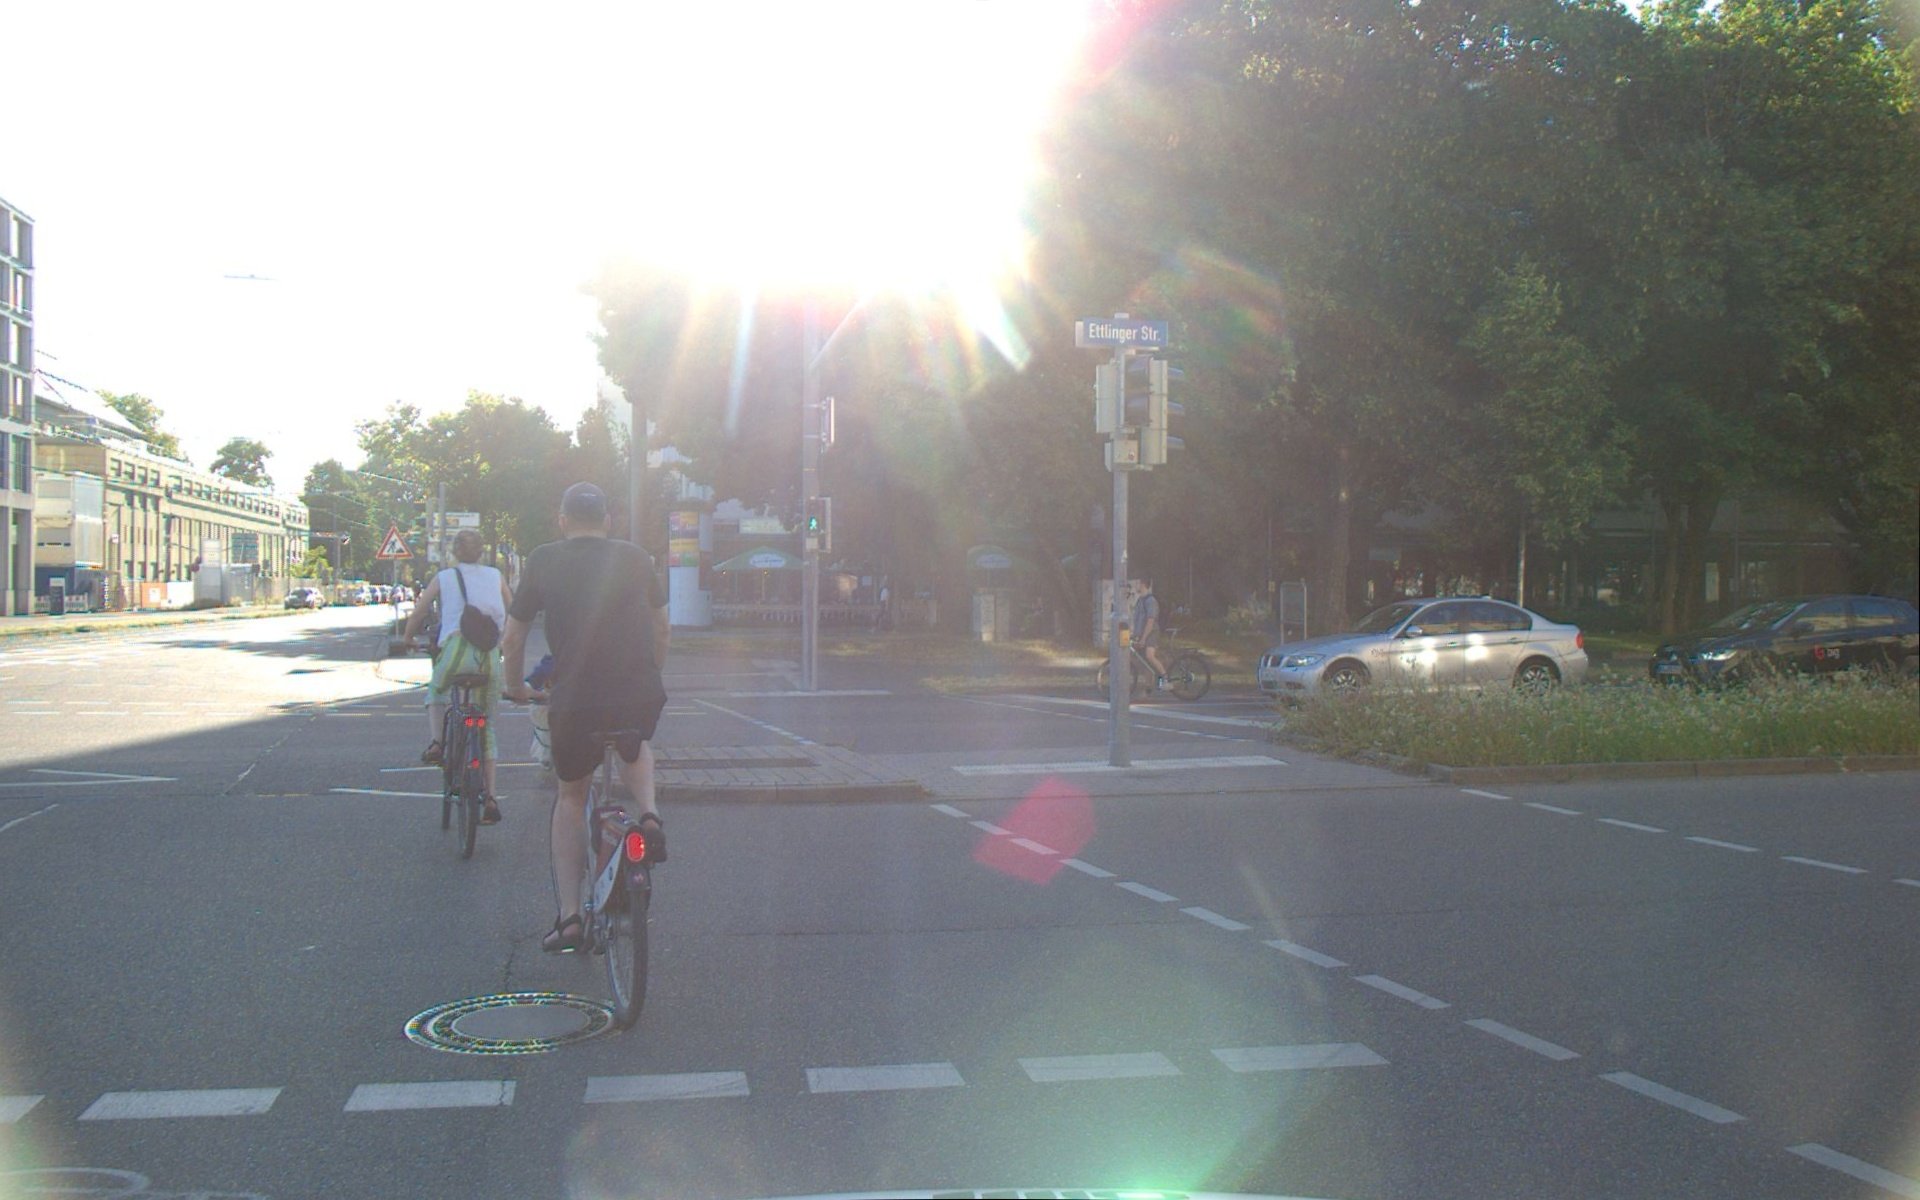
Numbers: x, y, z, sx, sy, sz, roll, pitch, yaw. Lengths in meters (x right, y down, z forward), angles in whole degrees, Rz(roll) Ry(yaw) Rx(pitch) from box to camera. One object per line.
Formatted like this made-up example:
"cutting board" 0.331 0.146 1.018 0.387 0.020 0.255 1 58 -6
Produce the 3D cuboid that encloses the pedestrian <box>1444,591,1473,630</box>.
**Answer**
"pedestrian" 17.276 0.358 57.326 0.651 1.363 0.907 0 0 -9

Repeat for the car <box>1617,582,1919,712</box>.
"car" 11.771 0.606 23.154 4.455 1.705 1.994 0 0 -13

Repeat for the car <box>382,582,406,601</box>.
"car" -57.207 -0.829 167.207 1.960 1.914 3.984 0 0 -15

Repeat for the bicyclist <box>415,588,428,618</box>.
"bicyclist" -33.173 0.178 101.932 0.652 1.885 0.781 0 0 -12

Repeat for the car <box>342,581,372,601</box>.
"car" -50.493 -0.752 138.562 1.960 1.668 3.984 0 0 -15

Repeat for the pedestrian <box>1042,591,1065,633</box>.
"pedestrian" 3.035 0.385 53.742 0.586 1.363 0.732 0 0 -9

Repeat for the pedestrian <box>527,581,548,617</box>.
"pedestrian" -20.844 -0.046 81.609 0.774 1.771 0.885 0 0 -32

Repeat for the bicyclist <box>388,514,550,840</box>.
"bicyclist" -2.721 0.413 9.259 0.759 1.720 0.922 1 0 -12

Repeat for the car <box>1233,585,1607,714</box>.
"car" 6.120 0.614 22.208 4.455 1.588 1.994 0 0 -13

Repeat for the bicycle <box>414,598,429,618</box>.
"bicycle" -33.148 0.487 101.827 0.649 1.176 1.803 0 0 -12

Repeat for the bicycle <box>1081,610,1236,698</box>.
"bicycle" 2.892 0.784 24.268 2.195 1.261 0.778 -1 0 2

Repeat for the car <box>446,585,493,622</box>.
"car" -19.844 0.128 66.984 1.669 1.453 3.984 0 0 -15

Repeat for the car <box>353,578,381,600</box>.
"car" -52.851 -0.942 147.428 1.960 1.914 3.984 0 0 -15

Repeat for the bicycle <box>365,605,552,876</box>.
"bicycle" -2.703 0.685 9.135 0.762 1.261 2.305 1 0 -12

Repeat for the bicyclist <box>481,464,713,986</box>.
"bicyclist" -1.331 0.434 6.111 0.739 1.774 0.836 1 -1 -12

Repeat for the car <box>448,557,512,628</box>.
"car" -21.176 -0.336 73.162 2.548 3.004 5.069 0 0 -15

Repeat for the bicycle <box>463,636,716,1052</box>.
"bicycle" -1.391 0.800 6.287 0.762 1.261 2.015 1 0 -12

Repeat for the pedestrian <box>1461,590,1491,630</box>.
"pedestrian" 17.924 0.346 57.462 0.701 1.363 0.827 0 0 -9

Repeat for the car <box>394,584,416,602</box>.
"car" -60.142 -0.760 179.271 1.960 1.914 3.984 0 0 -15

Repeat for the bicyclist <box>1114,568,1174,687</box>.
"bicyclist" 2.693 0.404 24.278 0.818 1.708 0.784 0 -1 2

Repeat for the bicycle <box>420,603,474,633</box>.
"bicycle" -16.004 0.555 51.633 1.578 0.904 0.765 0 0 -21

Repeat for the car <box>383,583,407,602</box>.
"car" -58.848 -0.805 172.302 1.960 1.914 3.984 0 0 -15

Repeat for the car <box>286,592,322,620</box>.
"car" -48.854 0.442 123.215 1.960 2.004 3.984 0 0 -15

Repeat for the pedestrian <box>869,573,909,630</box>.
"pedestrian" -2.235 0.046 52.302 1.186 1.771 0.895 0 0 3
